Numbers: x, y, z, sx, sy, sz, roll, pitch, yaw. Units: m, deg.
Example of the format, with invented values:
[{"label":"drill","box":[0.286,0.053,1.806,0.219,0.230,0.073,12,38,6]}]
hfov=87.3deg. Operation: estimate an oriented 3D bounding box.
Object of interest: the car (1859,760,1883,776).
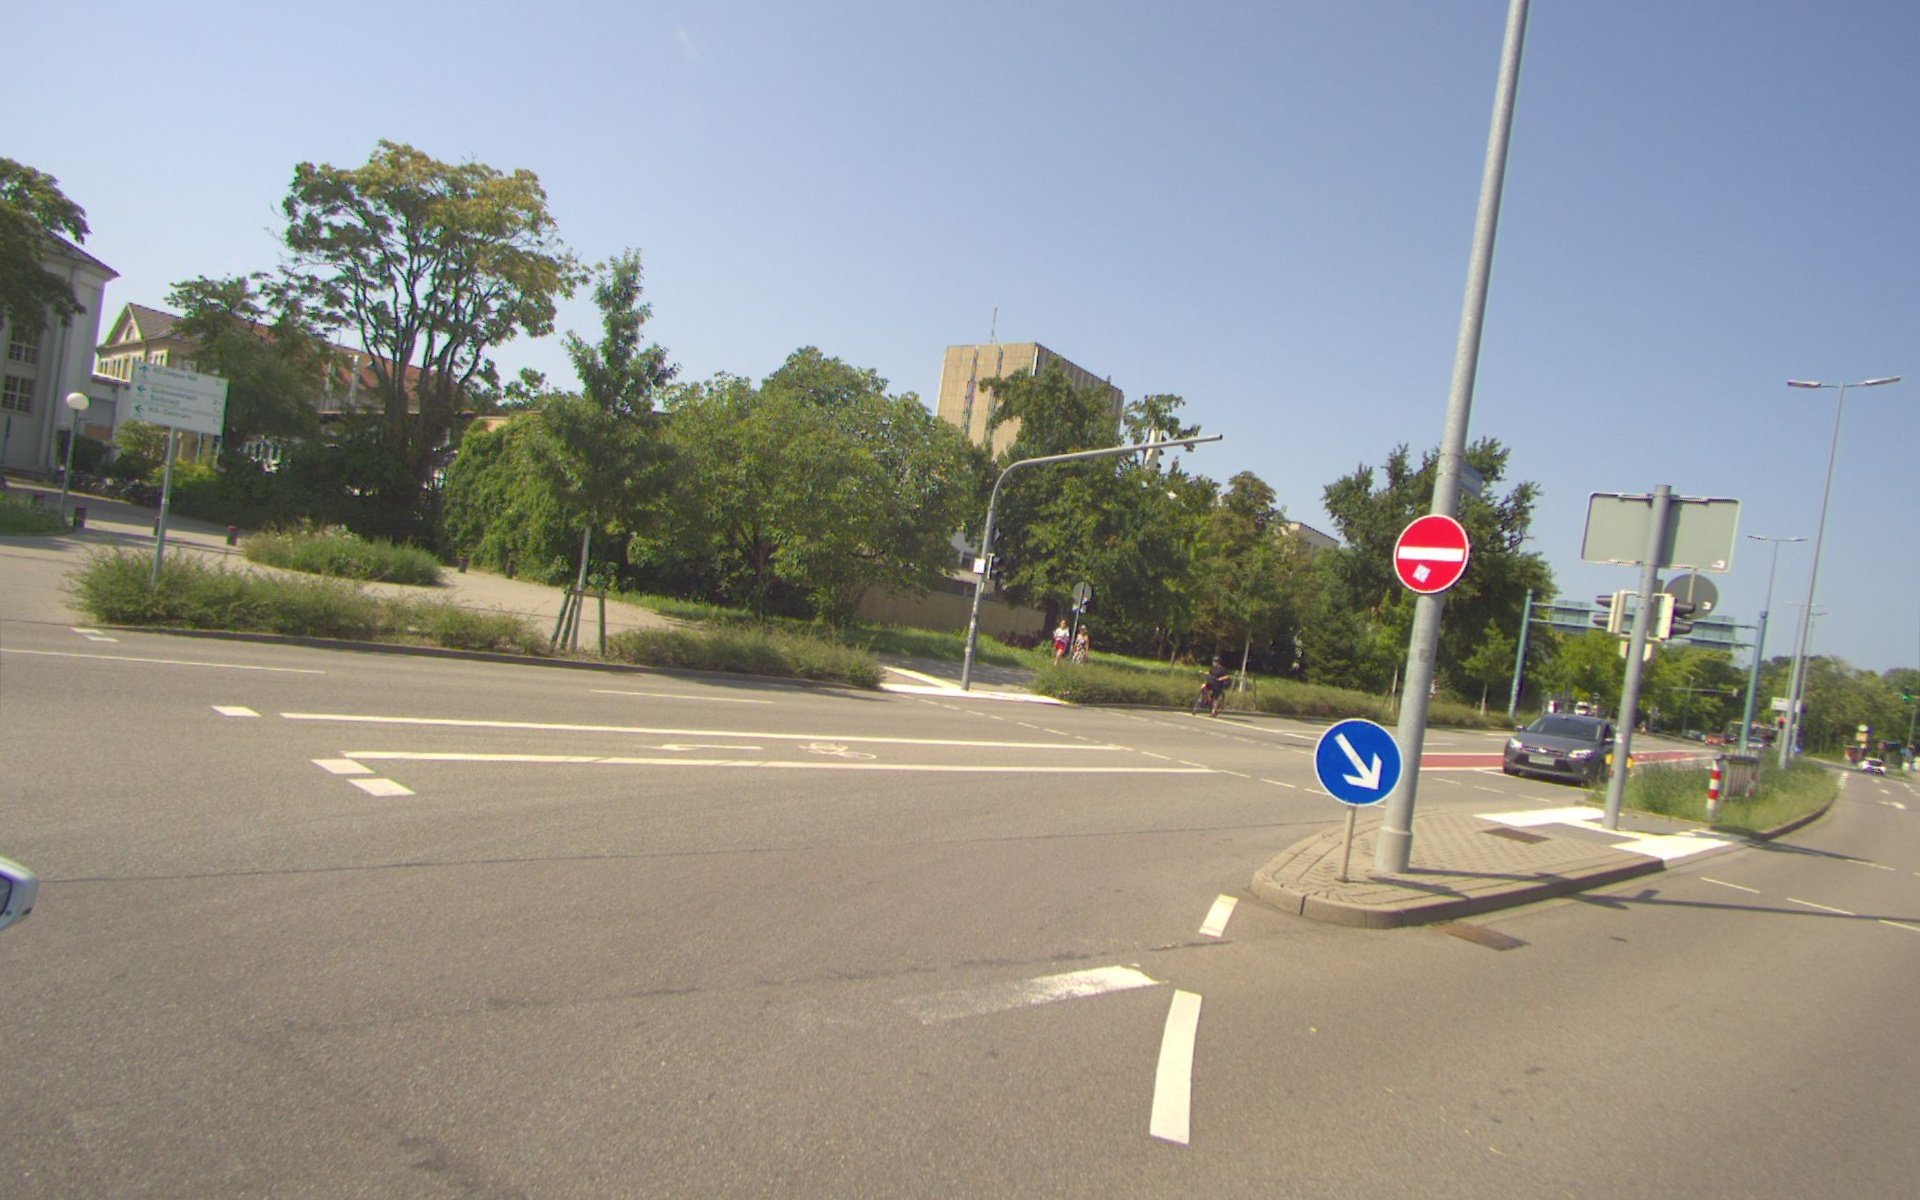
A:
[{"label":"car","box":[87.203,16.105,96.318,1.569,1.150,3.248,9,0,43]}]

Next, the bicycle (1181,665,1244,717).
[{"label":"bicycle","box":[6.962,2.520,27.741,0.776,1.227,1.781,9,0,43]}]

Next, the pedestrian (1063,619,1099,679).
[{"label":"pedestrian","box":[3.852,1.561,31.952,0.685,1.793,0.584,9,1,44]}]

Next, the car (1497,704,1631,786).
[{"label":"car","box":[13.110,3.120,21.751,1.767,1.373,3.409,6,-2,42]}]

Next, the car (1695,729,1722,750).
[{"label":"car","box":[84.456,15.754,113.442,2.053,1.940,4.180,9,0,39]}]

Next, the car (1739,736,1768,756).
[{"label":"car","box":[83.485,15.351,105.763,1.973,1.698,3.982,8,-1,42]}]

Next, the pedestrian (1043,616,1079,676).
[{"label":"pedestrian","box":[3.254,1.487,32.457,0.685,1.793,0.584,9,1,44]}]

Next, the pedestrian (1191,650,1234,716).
[{"label":"pedestrian","box":[6.940,2.279,27.679,0.770,1.689,0.546,9,1,44]}]

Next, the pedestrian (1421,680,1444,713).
[{"label":"pedestrian","box":[27.539,5.628,58.650,0.783,1.790,0.822,9,1,43]}]
